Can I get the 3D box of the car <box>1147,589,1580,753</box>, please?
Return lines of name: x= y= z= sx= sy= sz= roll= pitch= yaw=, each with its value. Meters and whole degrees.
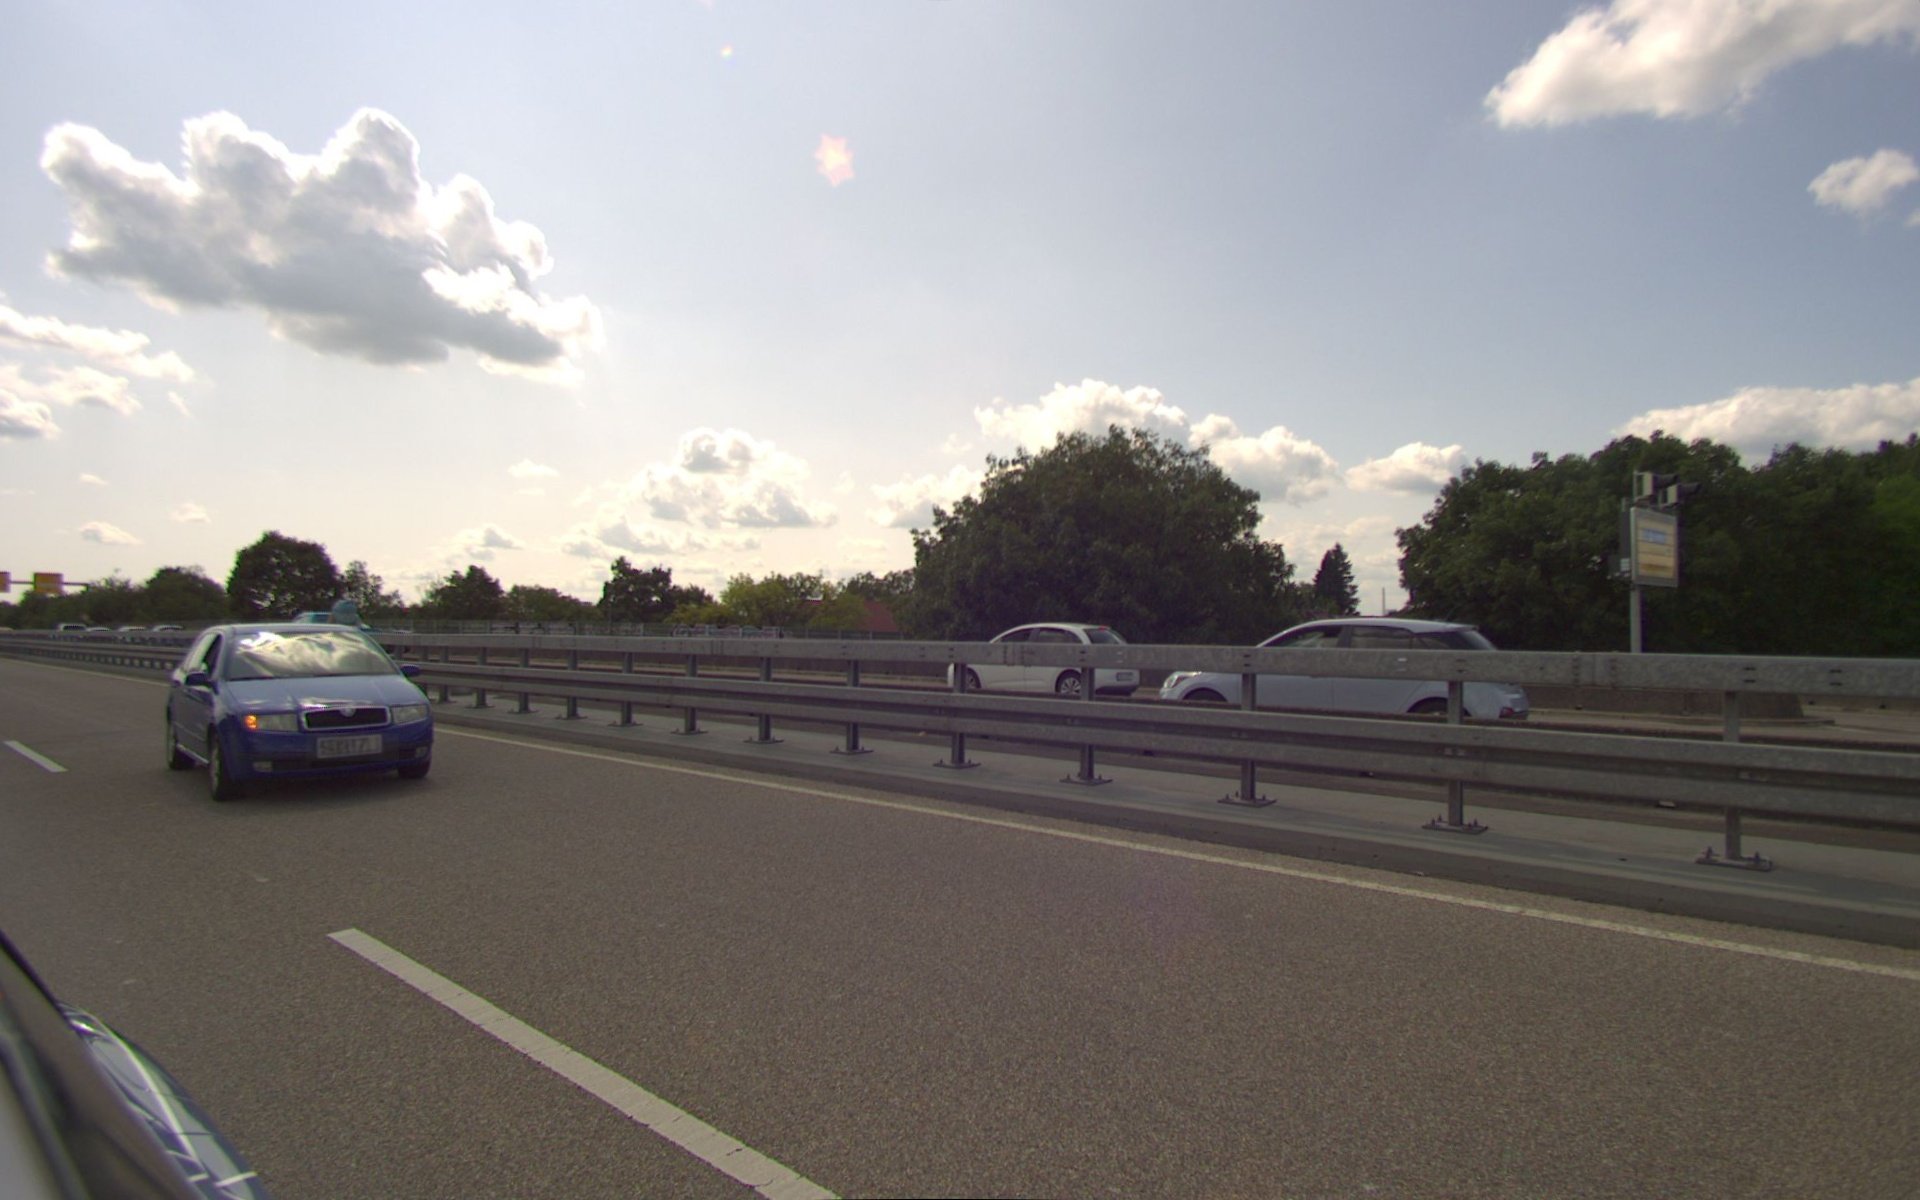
car: x=4.499 y=0.703 z=11.601 sx=4.238 sy=1.540 sz=1.883 roll=-1 pitch=-1 yaw=39

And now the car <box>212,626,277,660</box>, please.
car: x=-37.123 y=2.194 z=52.472 sx=3.997 sy=1.651 sz=1.803 roll=-2 pitch=-1 yaw=40

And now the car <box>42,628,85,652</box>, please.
car: x=-79.118 y=3.524 z=89.256 sx=5.184 sy=1.940 sz=1.941 roll=-3 pitch=-1 yaw=38

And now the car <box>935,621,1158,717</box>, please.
car: x=1.574 y=1.235 z=19.285 sx=3.952 sy=1.593 sz=1.810 roll=-2 pitch=-1 yaw=42

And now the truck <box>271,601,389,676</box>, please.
truck: x=-20.179 y=1.178 z=32.321 sx=5.187 sy=2.203 sz=1.853 roll=-2 pitch=-1 yaw=42

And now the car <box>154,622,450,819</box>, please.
car: x=-6.246 y=0.941 z=9.420 sx=1.602 sy=1.422 sz=3.774 roll=-1 pitch=-1 yaw=-44

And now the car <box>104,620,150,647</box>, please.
car: x=-57.752 y=2.334 z=70.142 sx=4.405 sy=1.724 sz=1.566 roll=-3 pitch=-1 yaw=39

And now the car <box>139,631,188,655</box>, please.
car: x=-50.289 y=2.695 z=63.897 sx=3.627 sy=1.486 sz=1.582 roll=-1 pitch=-4 yaw=39

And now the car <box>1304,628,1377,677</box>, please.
car: x=16.817 y=2.268 z=44.987 sx=1.977 sy=1.912 sz=5.154 roll=-1 pitch=0 yaw=9

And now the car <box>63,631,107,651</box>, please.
car: x=-65.811 y=3.067 z=76.098 sx=4.042 sy=1.400 sz=1.767 roll=-3 pitch=-1 yaw=39
